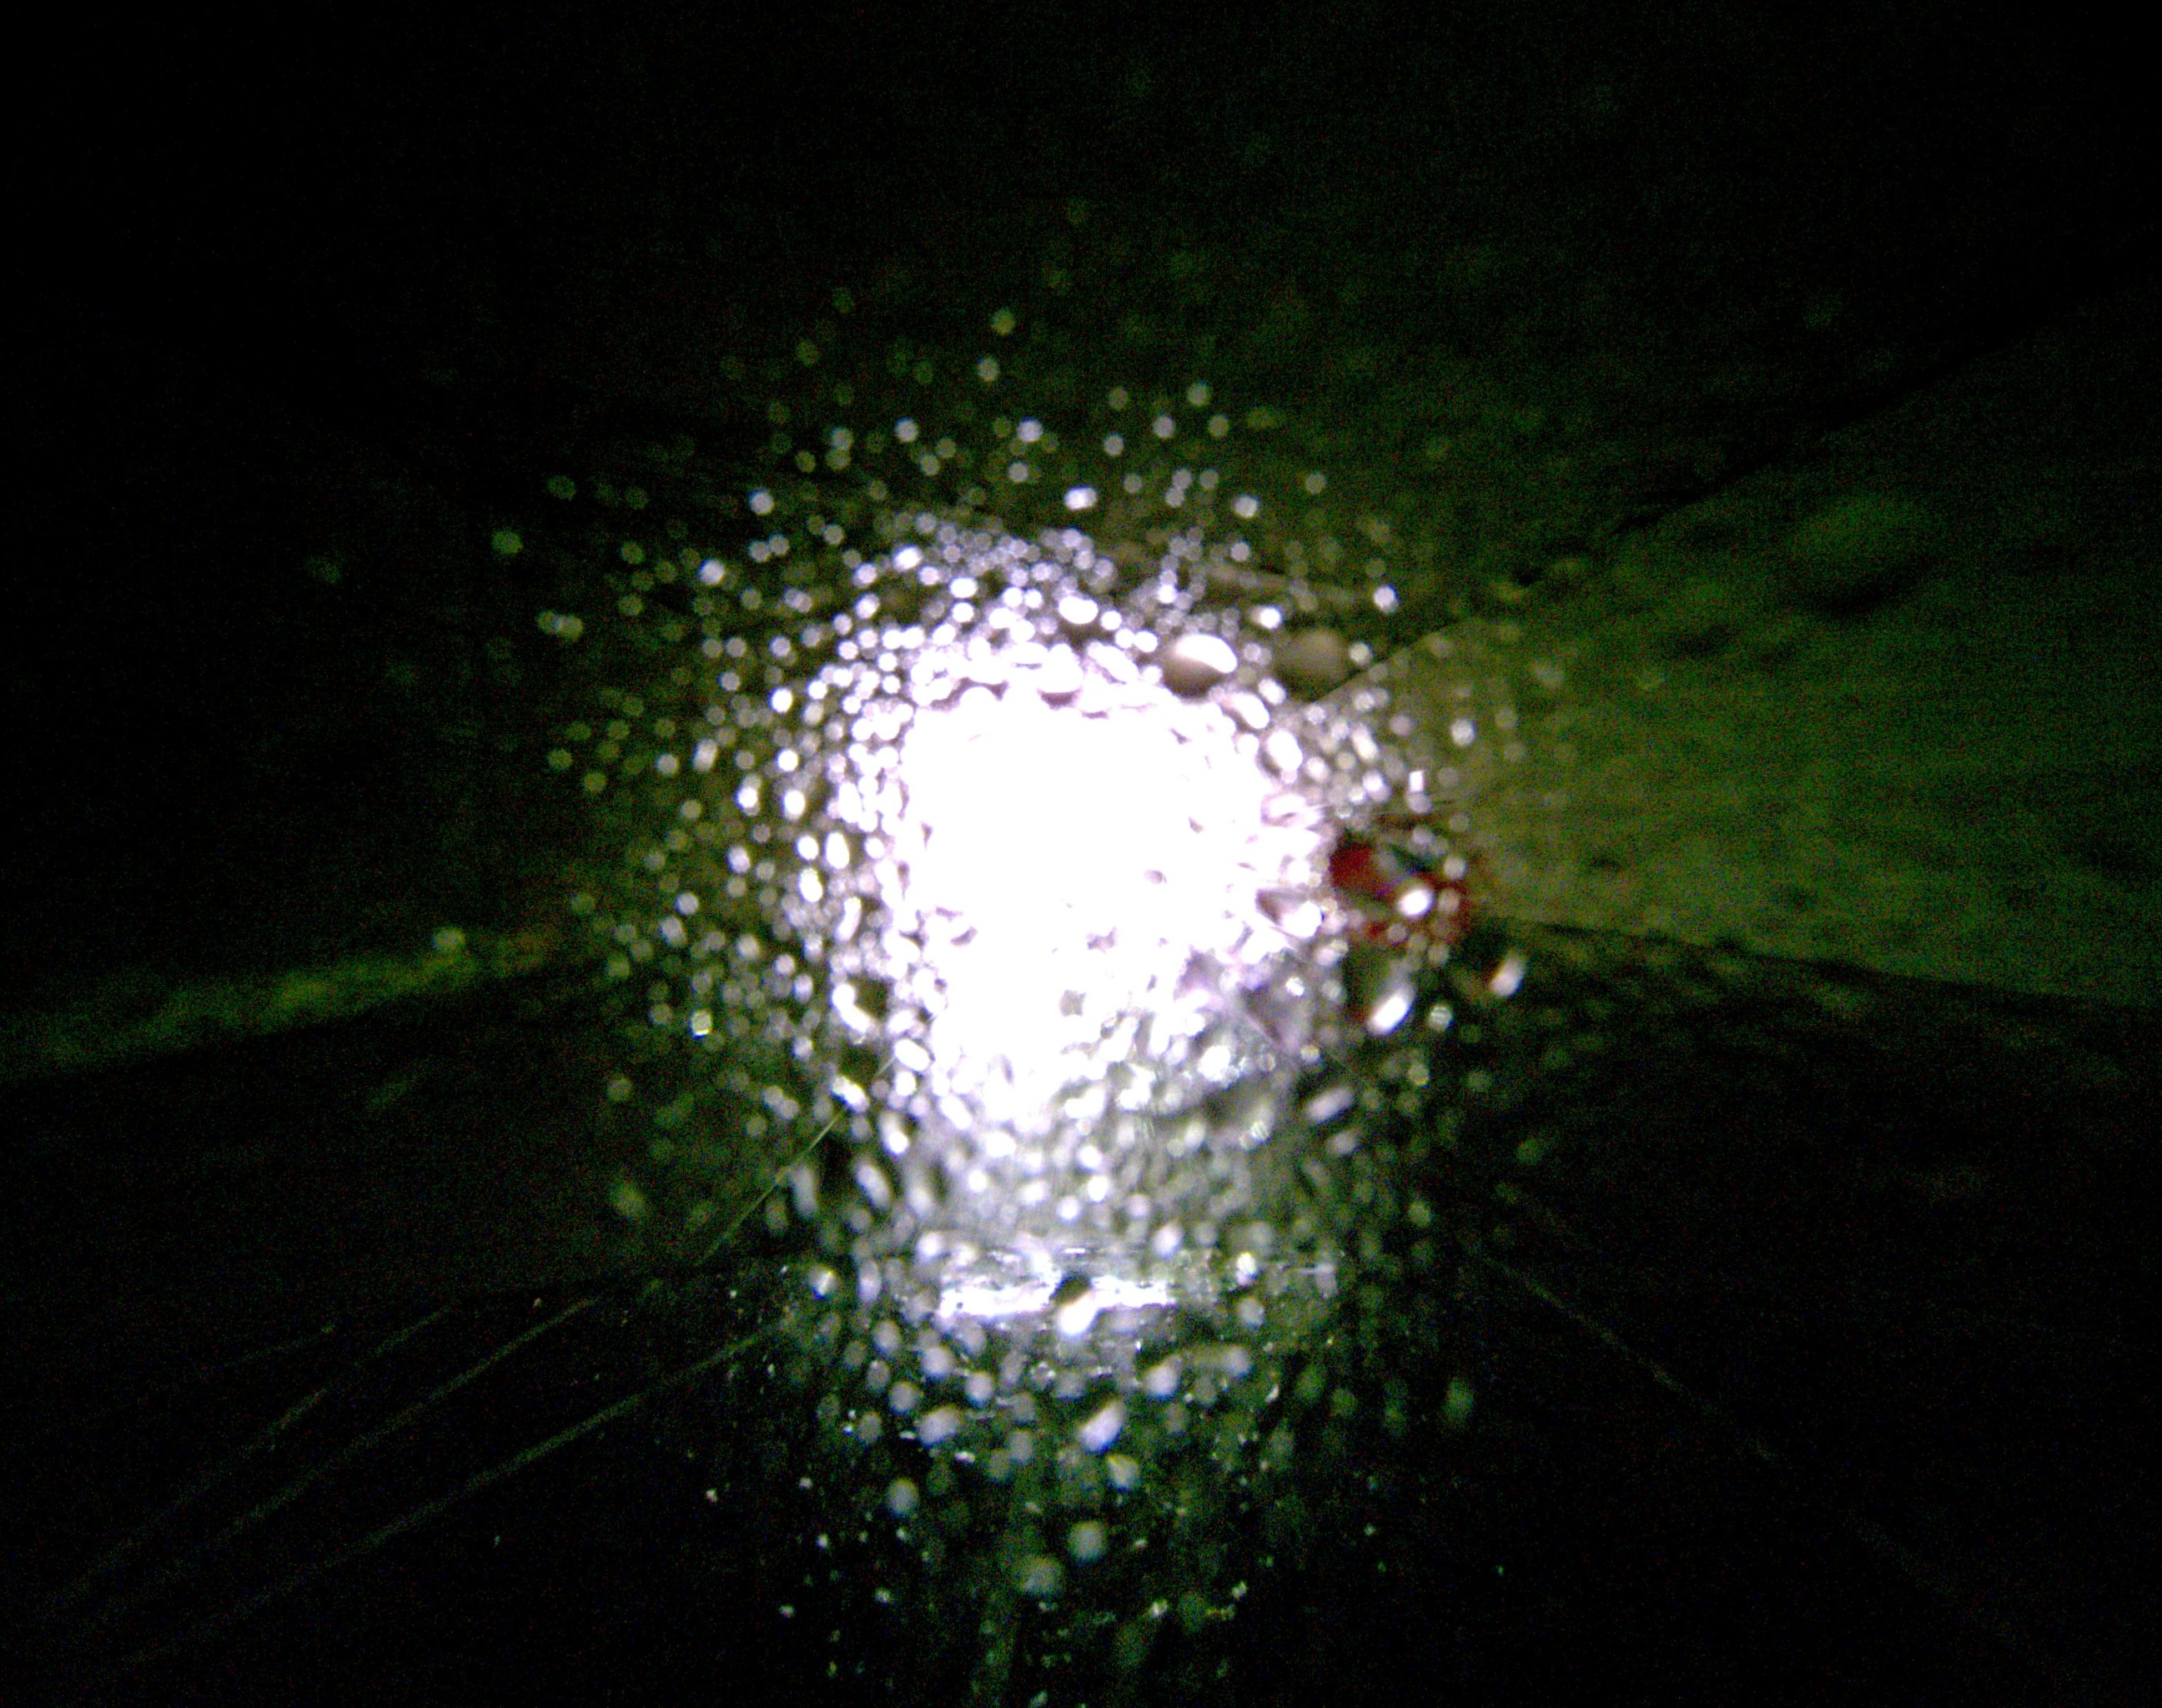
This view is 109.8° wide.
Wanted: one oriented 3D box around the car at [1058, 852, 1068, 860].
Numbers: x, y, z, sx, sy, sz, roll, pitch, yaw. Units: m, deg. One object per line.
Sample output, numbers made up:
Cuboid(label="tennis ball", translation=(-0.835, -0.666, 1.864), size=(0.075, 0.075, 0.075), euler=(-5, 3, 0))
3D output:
Cuboid(label="car", translation=(-3.174, 0.335, 133.137), size=(1.695, 1.478, 4.071), euler=(-1, 0, -4))

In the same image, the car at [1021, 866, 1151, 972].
Cuboid(label="car", translation=(-0.003, 0.941, 12.911), size=(1.767, 1.316, 4.548), euler=(-2, 0, -2))

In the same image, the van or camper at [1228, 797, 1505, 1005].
Cuboid(label="van or camper", translation=(3.422, 0.475, 10.249), size=(1.998, 2.086, 4.691), euler=(-2, 1, 1))
